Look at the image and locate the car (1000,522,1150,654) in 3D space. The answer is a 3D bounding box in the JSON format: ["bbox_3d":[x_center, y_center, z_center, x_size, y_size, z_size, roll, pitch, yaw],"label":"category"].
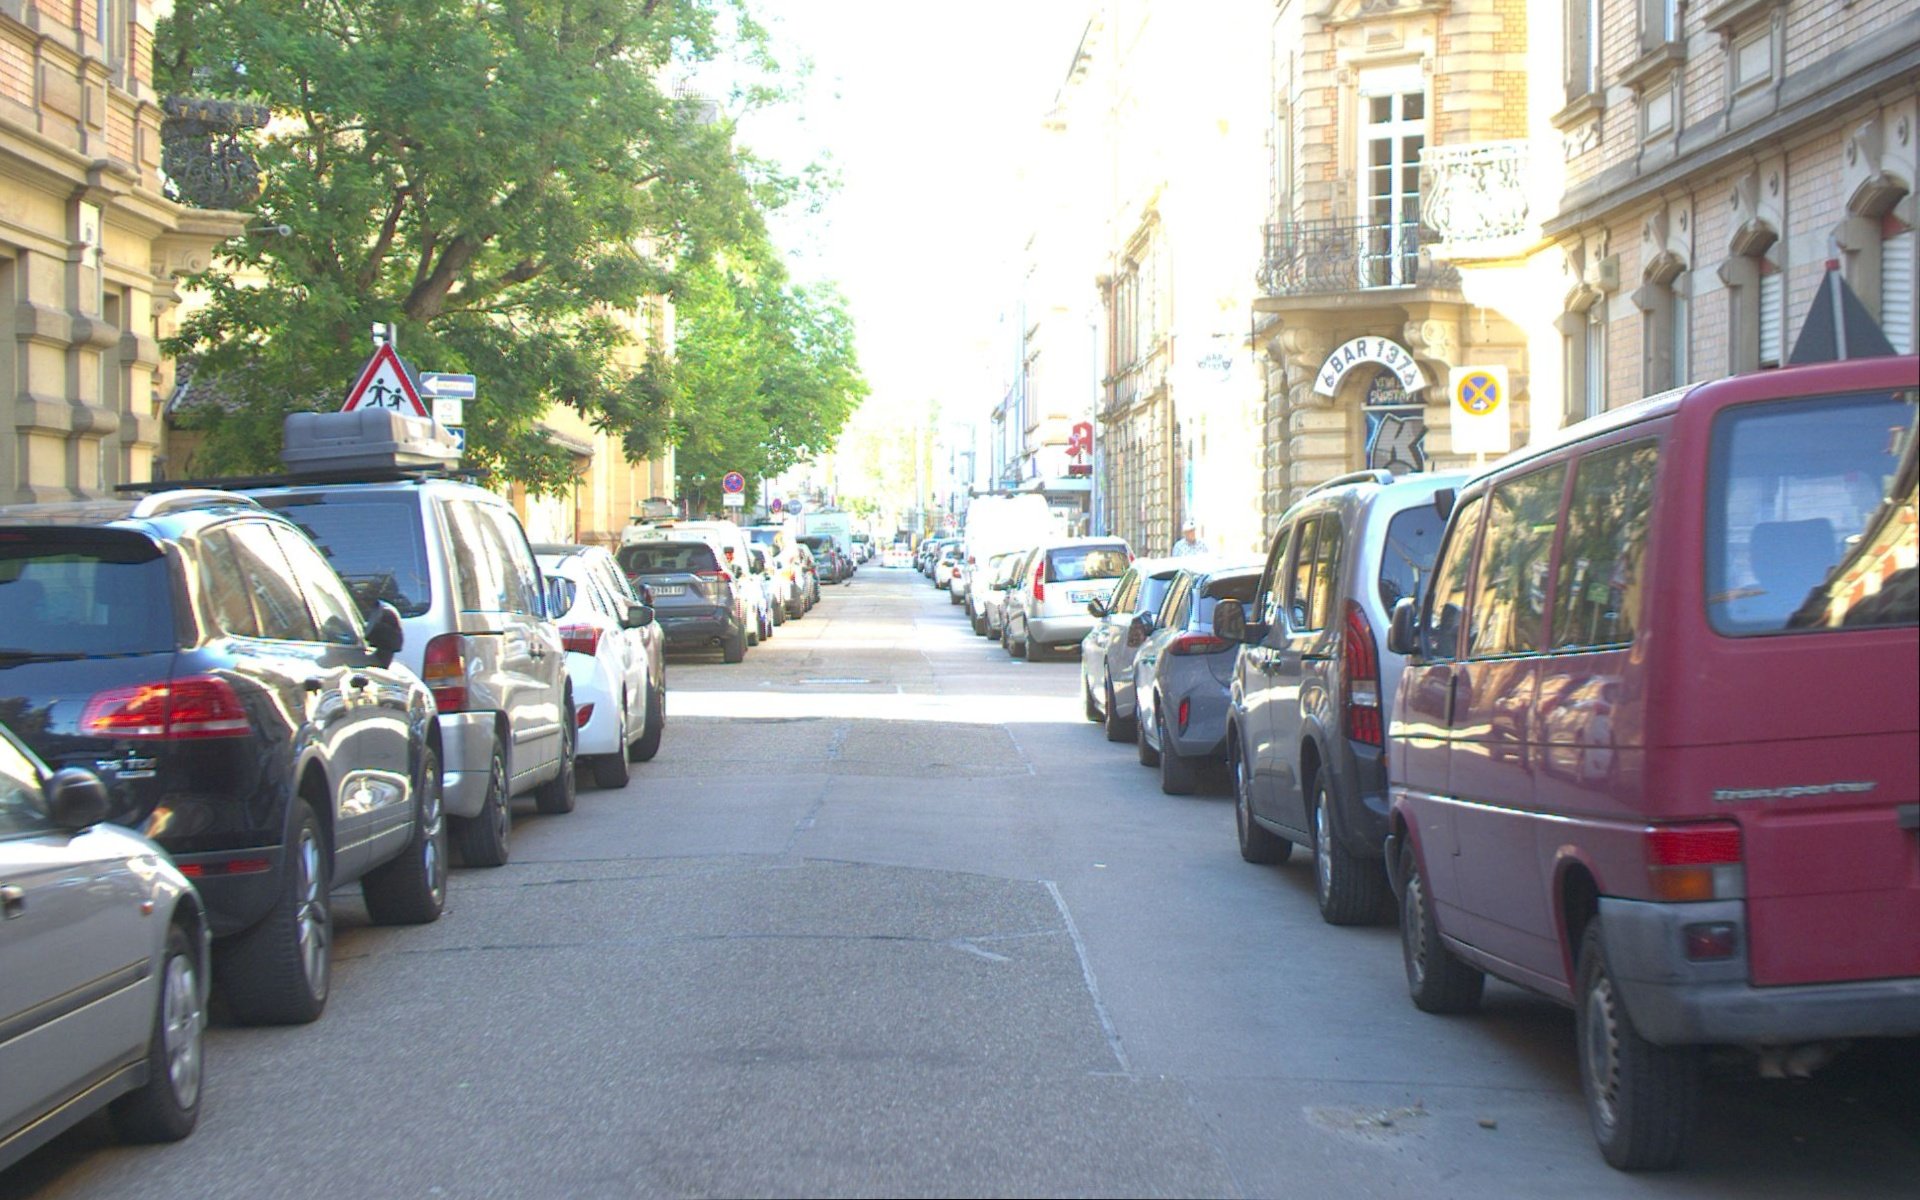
[{"bbox_3d":[1.533,-0.199,47.143,1.703,1.708,3.938,-1,1,-3],"label":"car"}]

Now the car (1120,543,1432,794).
[{"bbox_3d":[2.010,0.382,22.807,1.666,1.474,3.888,0,2,-1],"label":"car"}]

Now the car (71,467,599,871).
[{"bbox_3d":[-3.057,0.271,17.791,1.892,1.778,4.608,1,1,0],"label":"car"}]

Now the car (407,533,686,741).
[{"bbox_3d":[-3.176,0.232,27.094,1.722,1.476,4.090,1,1,-1],"label":"car"}]

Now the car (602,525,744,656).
[{"bbox_3d":[-3.743,-0.164,45.372,1.740,1.641,4.290,0,1,-3],"label":"car"}]

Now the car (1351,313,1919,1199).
[{"bbox_3d":[2.372,0.352,9.914,1.832,2.007,4.742,1,1,-1],"label":"car"}]

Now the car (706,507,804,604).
[{"bbox_3d":[-4.317,-0.956,72.797,1.864,1.950,4.611,-2,1,-2],"label":"car"}]

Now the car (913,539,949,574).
[{"bbox_3d":[-1.670,-2.495,197.438,1.993,2.007,4.000,0,1,-1],"label":"car"}]

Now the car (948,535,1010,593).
[{"bbox_3d":[0.503,-0.986,92.626,1.603,1.499,4.000,1,1,0],"label":"car"}]

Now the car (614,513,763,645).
[{"bbox_3d":[-3.984,-0.351,51.053,1.845,1.856,4.465,0,1,0],"label":"car"}]

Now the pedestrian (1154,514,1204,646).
[{"bbox_3d":[2.929,-0.274,46.061,0.574,1.727,0.664,-1,2,-1],"label":"pedestrian"}]

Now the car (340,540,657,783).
[{"bbox_3d":[-2.917,0.334,22.425,1.674,1.416,3.875,1,1,-2],"label":"car"}]

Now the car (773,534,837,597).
[{"bbox_3d":[-4.214,-0.951,93.770,1.600,1.608,3.809,-2,1,-2],"label":"car"}]

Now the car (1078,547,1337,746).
[{"bbox_3d":[1.944,0.320,28.205,1.706,1.454,4.511,1,1,-1],"label":"car"}]

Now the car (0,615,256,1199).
[{"bbox_3d":[-2.799,0.713,7.511,1.698,1.309,4.000,3,1,-1],"label":"car"}]

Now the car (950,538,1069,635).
[{"bbox_3d":[0.801,-0.252,57.723,1.572,1.520,3.909,2,1,-5],"label":"car"}]

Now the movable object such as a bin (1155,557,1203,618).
[{"bbox_3d":[3.910,-0.220,61.255,0.548,1.049,0.603,-4,2,-34],"label":"movable object such as a bin"}]

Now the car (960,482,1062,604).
[{"bbox_3d":[1.094,-1.292,76.618,2.068,2.602,5.888,0,1,-1],"label":"car"}]

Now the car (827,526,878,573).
[{"bbox_3d":[-4.135,-1.966,132.890,1.875,1.790,4.000,0,1,-1],"label":"car"}]

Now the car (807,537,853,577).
[{"bbox_3d":[-5.878,-1.941,155.041,1.875,1.790,4.001,0,1,-5],"label":"car"}]

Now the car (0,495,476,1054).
[{"bbox_3d":[-2.965,0.459,12.348,1.788,1.619,4.608,1,1,0],"label":"car"}]

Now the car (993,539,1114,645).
[{"bbox_3d":[1.382,-0.146,52.039,1.535,1.508,3.682,-1,1,-3],"label":"car"}]

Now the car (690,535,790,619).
[{"bbox_3d":[-4.250,-0.466,66.879,1.742,1.581,3.869,0,1,-1],"label":"car"}]

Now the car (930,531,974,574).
[{"bbox_3d":[-0.344,-1.959,141.582,1.769,1.735,4.000,0,1,-1],"label":"car"}]

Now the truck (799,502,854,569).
[{"bbox_3d":[-6.636,-3.196,171.294,2.532,3.270,6.995,0,1,-1],"label":"truck"}]

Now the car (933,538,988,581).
[{"bbox_3d":[-0.009,-1.424,121.062,1.897,1.483,3.870,0,1,-1],"label":"car"}]

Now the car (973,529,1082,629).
[{"bbox_3d":[1.184,-0.383,61.823,1.807,1.684,4.214,2,1,0],"label":"car"}]

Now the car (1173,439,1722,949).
[{"bbox_3d":[2.037,0.328,15.561,1.769,1.954,4.264,1,1,-1],"label":"car"}]
